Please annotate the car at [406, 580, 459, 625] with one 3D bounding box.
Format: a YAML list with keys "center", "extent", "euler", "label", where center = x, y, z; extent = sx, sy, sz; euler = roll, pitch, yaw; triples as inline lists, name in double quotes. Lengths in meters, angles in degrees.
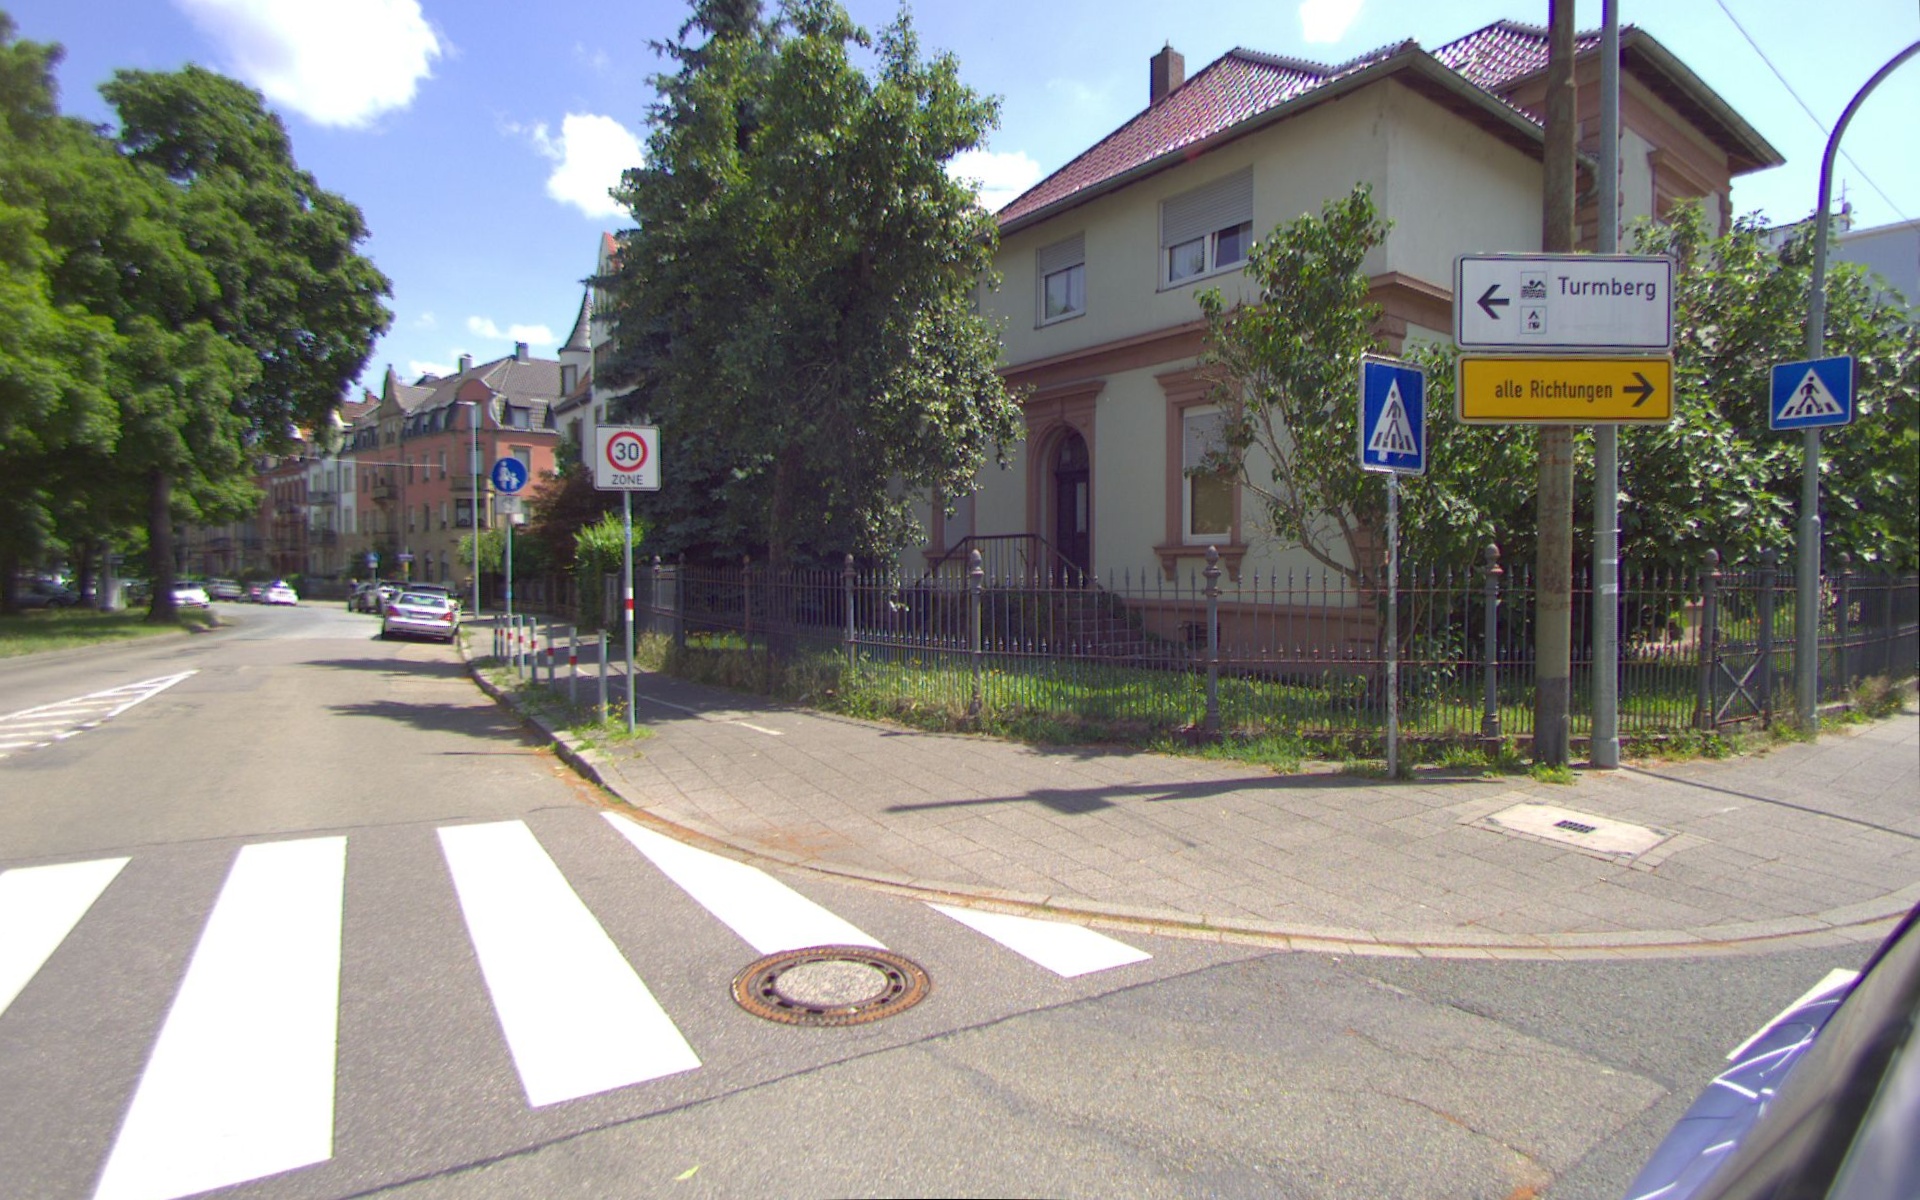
- center: [-18.853, 0.096, 36.275]
  extent: [1.574, 1.458, 3.735]
  euler: [-3, 1, -26]
  label: "car"

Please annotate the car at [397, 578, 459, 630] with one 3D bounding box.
- center: [-16.626, 0.113, 31.752]
  extent: [1.574, 1.458, 3.735]
  euler: [-3, 1, -26]
  label: "car"

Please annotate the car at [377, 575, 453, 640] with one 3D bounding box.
- center: [-14.566, 0.205, 27.184]
  extent: [1.574, 1.572, 3.735]
  euler: [3, -2, -26]
  label: "car"

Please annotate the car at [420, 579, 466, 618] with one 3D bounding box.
- center: [-21.197, -0.062, 41.561]
  extent: [1.574, 1.458, 3.735]
  euler: [-3, 1, -26]
  label: "car"
